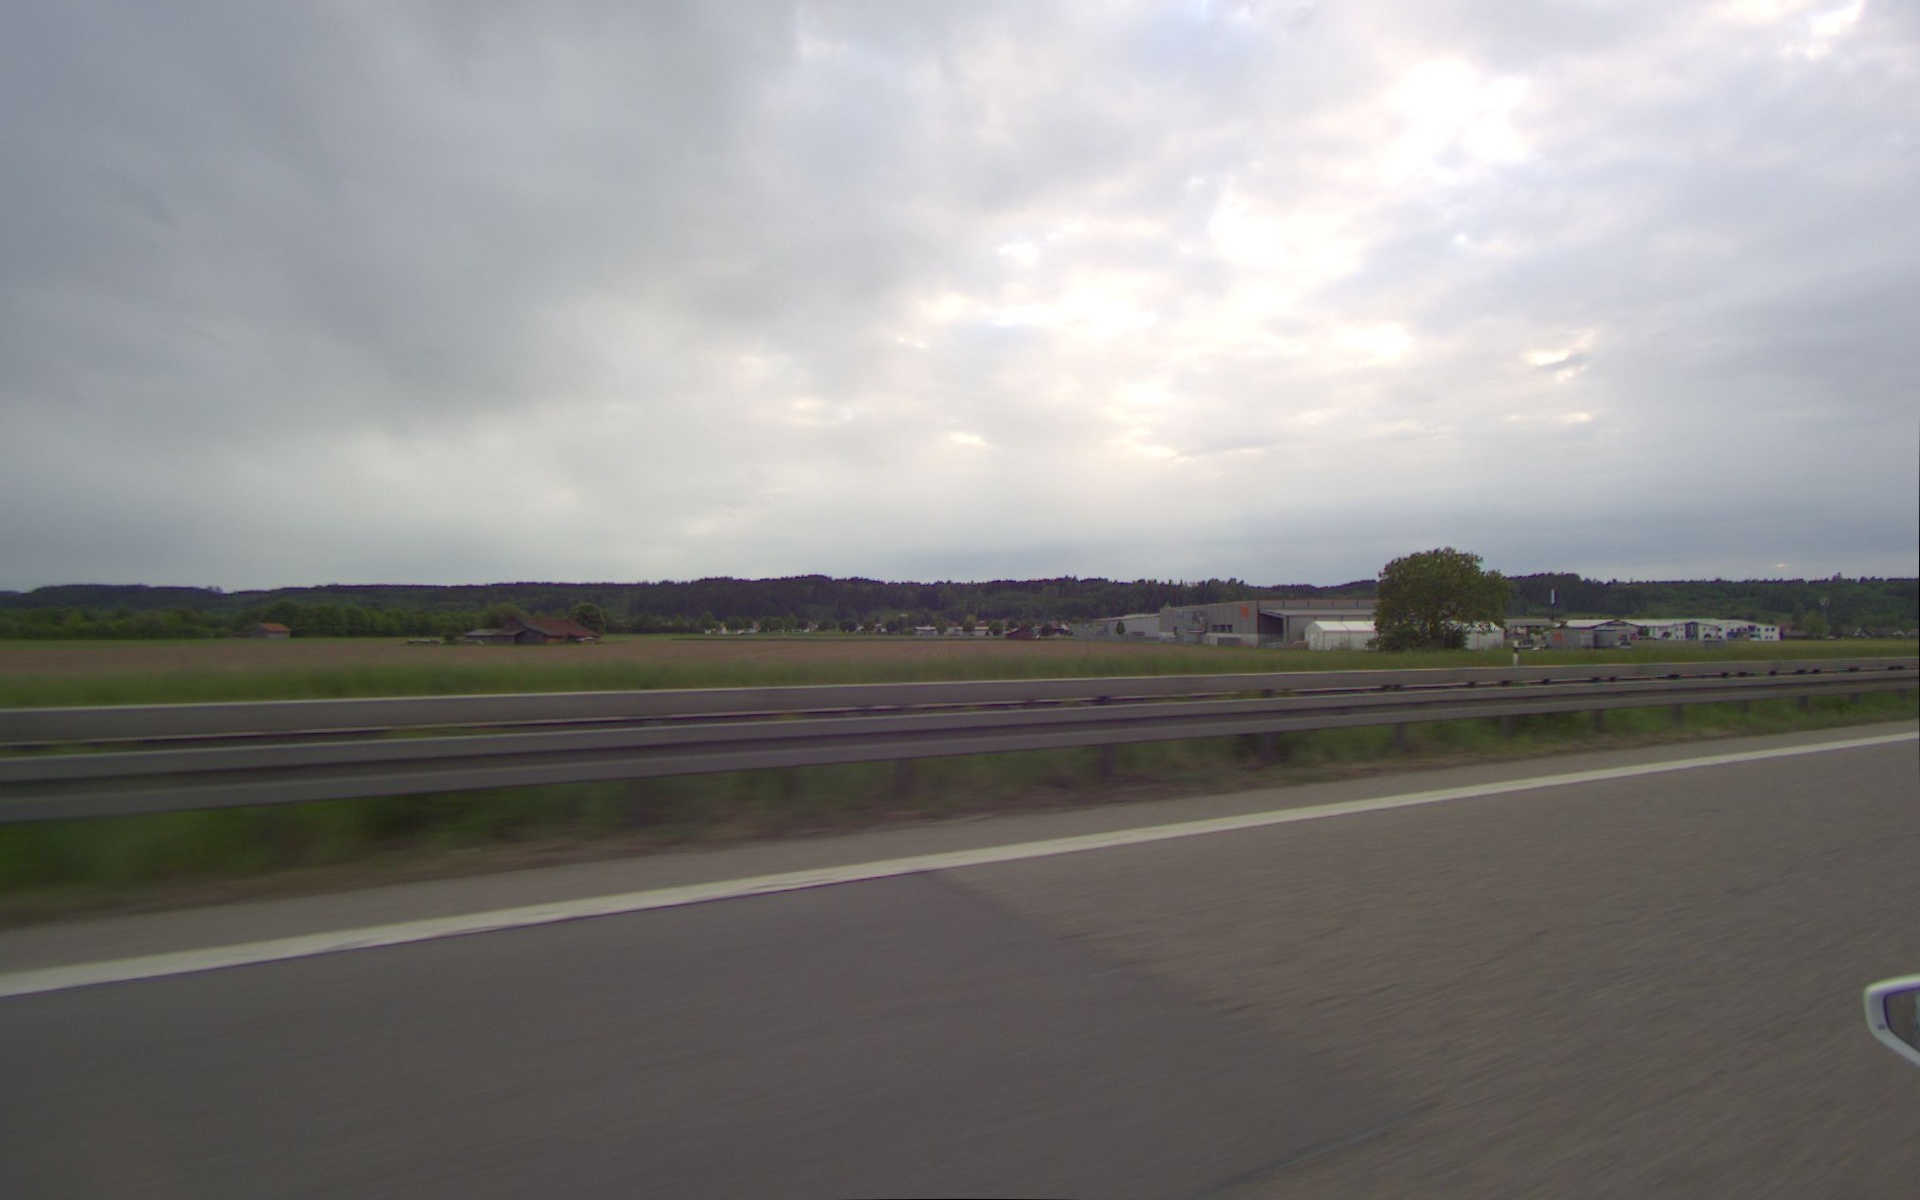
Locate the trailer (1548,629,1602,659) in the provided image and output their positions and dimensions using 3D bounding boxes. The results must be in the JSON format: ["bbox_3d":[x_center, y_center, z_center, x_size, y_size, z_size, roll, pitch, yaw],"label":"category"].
[{"bbox_3d":[112.025,8.059,183.230,3.680,5.328,10.085,1,-3,0],"label":"trailer"}]

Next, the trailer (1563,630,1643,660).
[{"bbox_3d":[116.252,8.215,182.075,3.499,5.202,17.040,1,-3,0],"label":"trailer"}]
